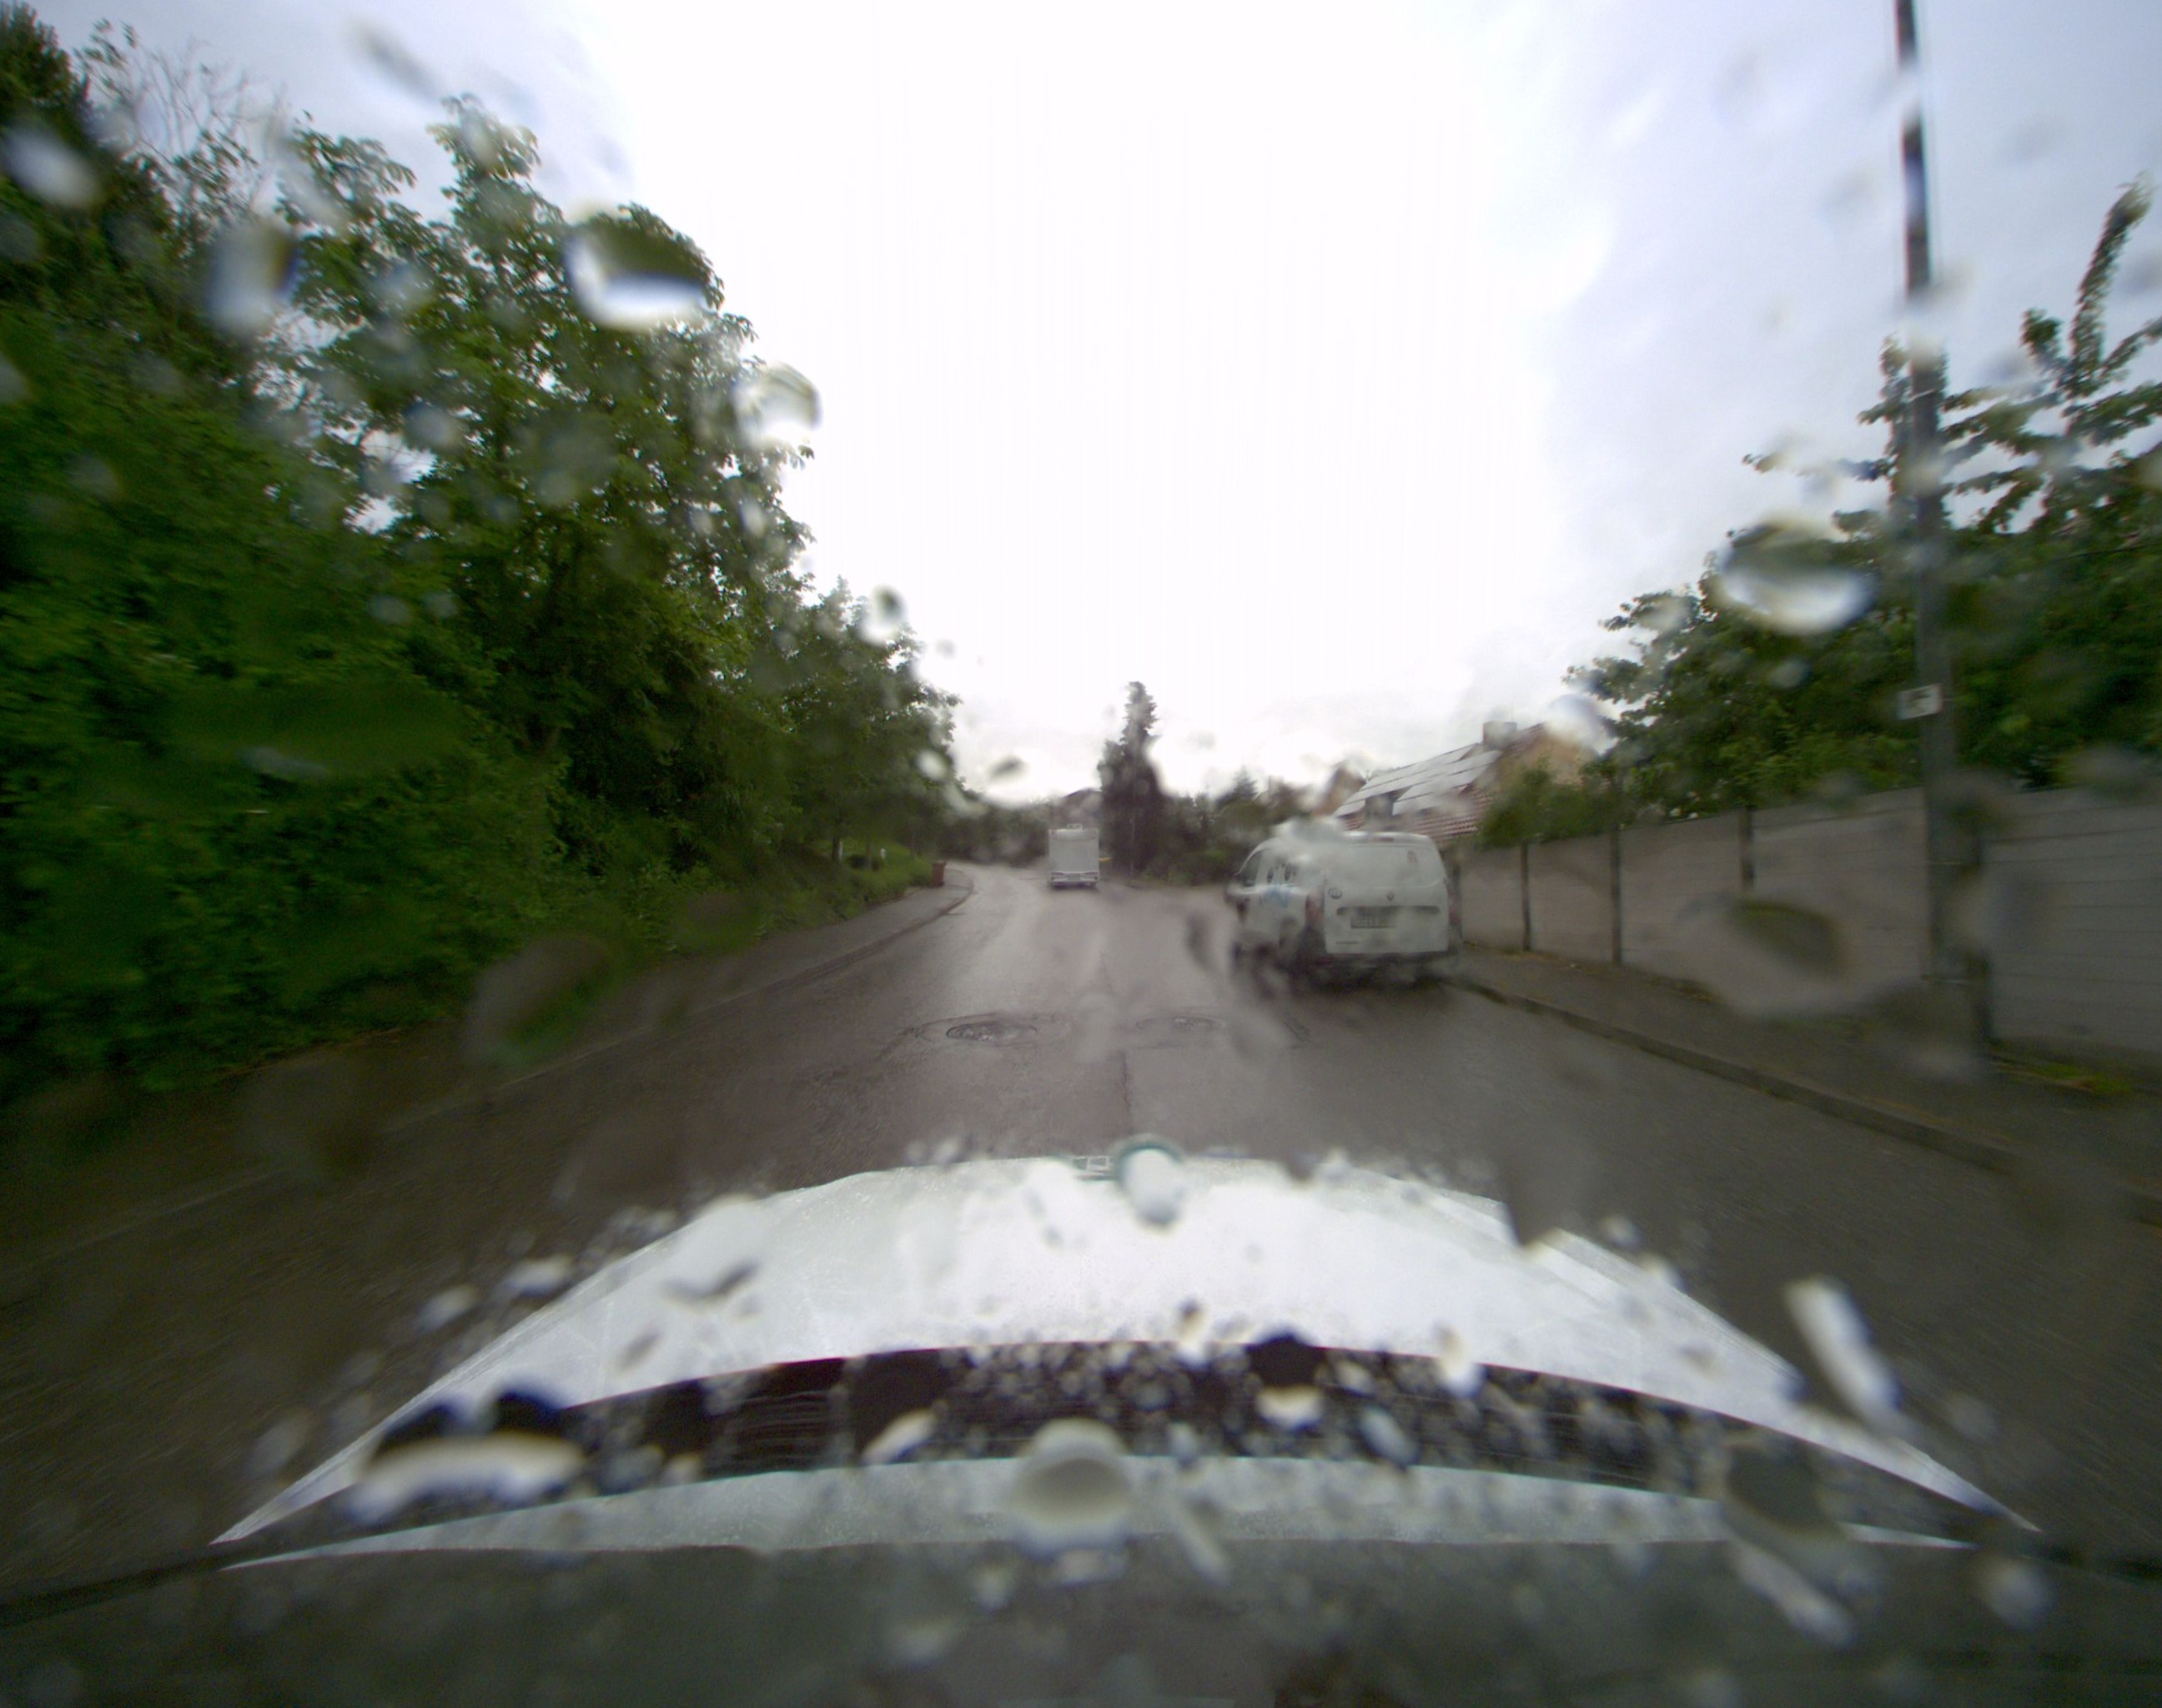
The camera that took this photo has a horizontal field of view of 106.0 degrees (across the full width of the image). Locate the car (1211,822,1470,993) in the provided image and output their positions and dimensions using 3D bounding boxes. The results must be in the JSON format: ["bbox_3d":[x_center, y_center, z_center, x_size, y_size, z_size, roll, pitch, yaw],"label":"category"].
[{"bbox_3d":[3.146,0.572,11.025,1.775,1.803,4.701,0,0,-3],"label":"car"}]

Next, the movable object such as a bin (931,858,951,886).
[{"bbox_3d":[-5.971,0.773,34.736,0.692,1.090,0.803,2,4,-2],"label":"movable object such as a bin"}]

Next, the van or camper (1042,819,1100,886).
[{"bbox_3d":[-0.474,-0.053,38.424,2.533,2.925,5.945,0,0,-1],"label":"van or camper"}]

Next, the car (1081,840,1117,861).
[{"bbox_3d":[1.349,-0.261,63.915,1.633,1.493,3.404,-5,1,-19],"label":"car"}]

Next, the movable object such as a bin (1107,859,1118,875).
[{"bbox_3d":[2.045,0.818,52.231,0.505,0.969,0.592,4,-1,-13],"label":"movable object such as a bin"}]
